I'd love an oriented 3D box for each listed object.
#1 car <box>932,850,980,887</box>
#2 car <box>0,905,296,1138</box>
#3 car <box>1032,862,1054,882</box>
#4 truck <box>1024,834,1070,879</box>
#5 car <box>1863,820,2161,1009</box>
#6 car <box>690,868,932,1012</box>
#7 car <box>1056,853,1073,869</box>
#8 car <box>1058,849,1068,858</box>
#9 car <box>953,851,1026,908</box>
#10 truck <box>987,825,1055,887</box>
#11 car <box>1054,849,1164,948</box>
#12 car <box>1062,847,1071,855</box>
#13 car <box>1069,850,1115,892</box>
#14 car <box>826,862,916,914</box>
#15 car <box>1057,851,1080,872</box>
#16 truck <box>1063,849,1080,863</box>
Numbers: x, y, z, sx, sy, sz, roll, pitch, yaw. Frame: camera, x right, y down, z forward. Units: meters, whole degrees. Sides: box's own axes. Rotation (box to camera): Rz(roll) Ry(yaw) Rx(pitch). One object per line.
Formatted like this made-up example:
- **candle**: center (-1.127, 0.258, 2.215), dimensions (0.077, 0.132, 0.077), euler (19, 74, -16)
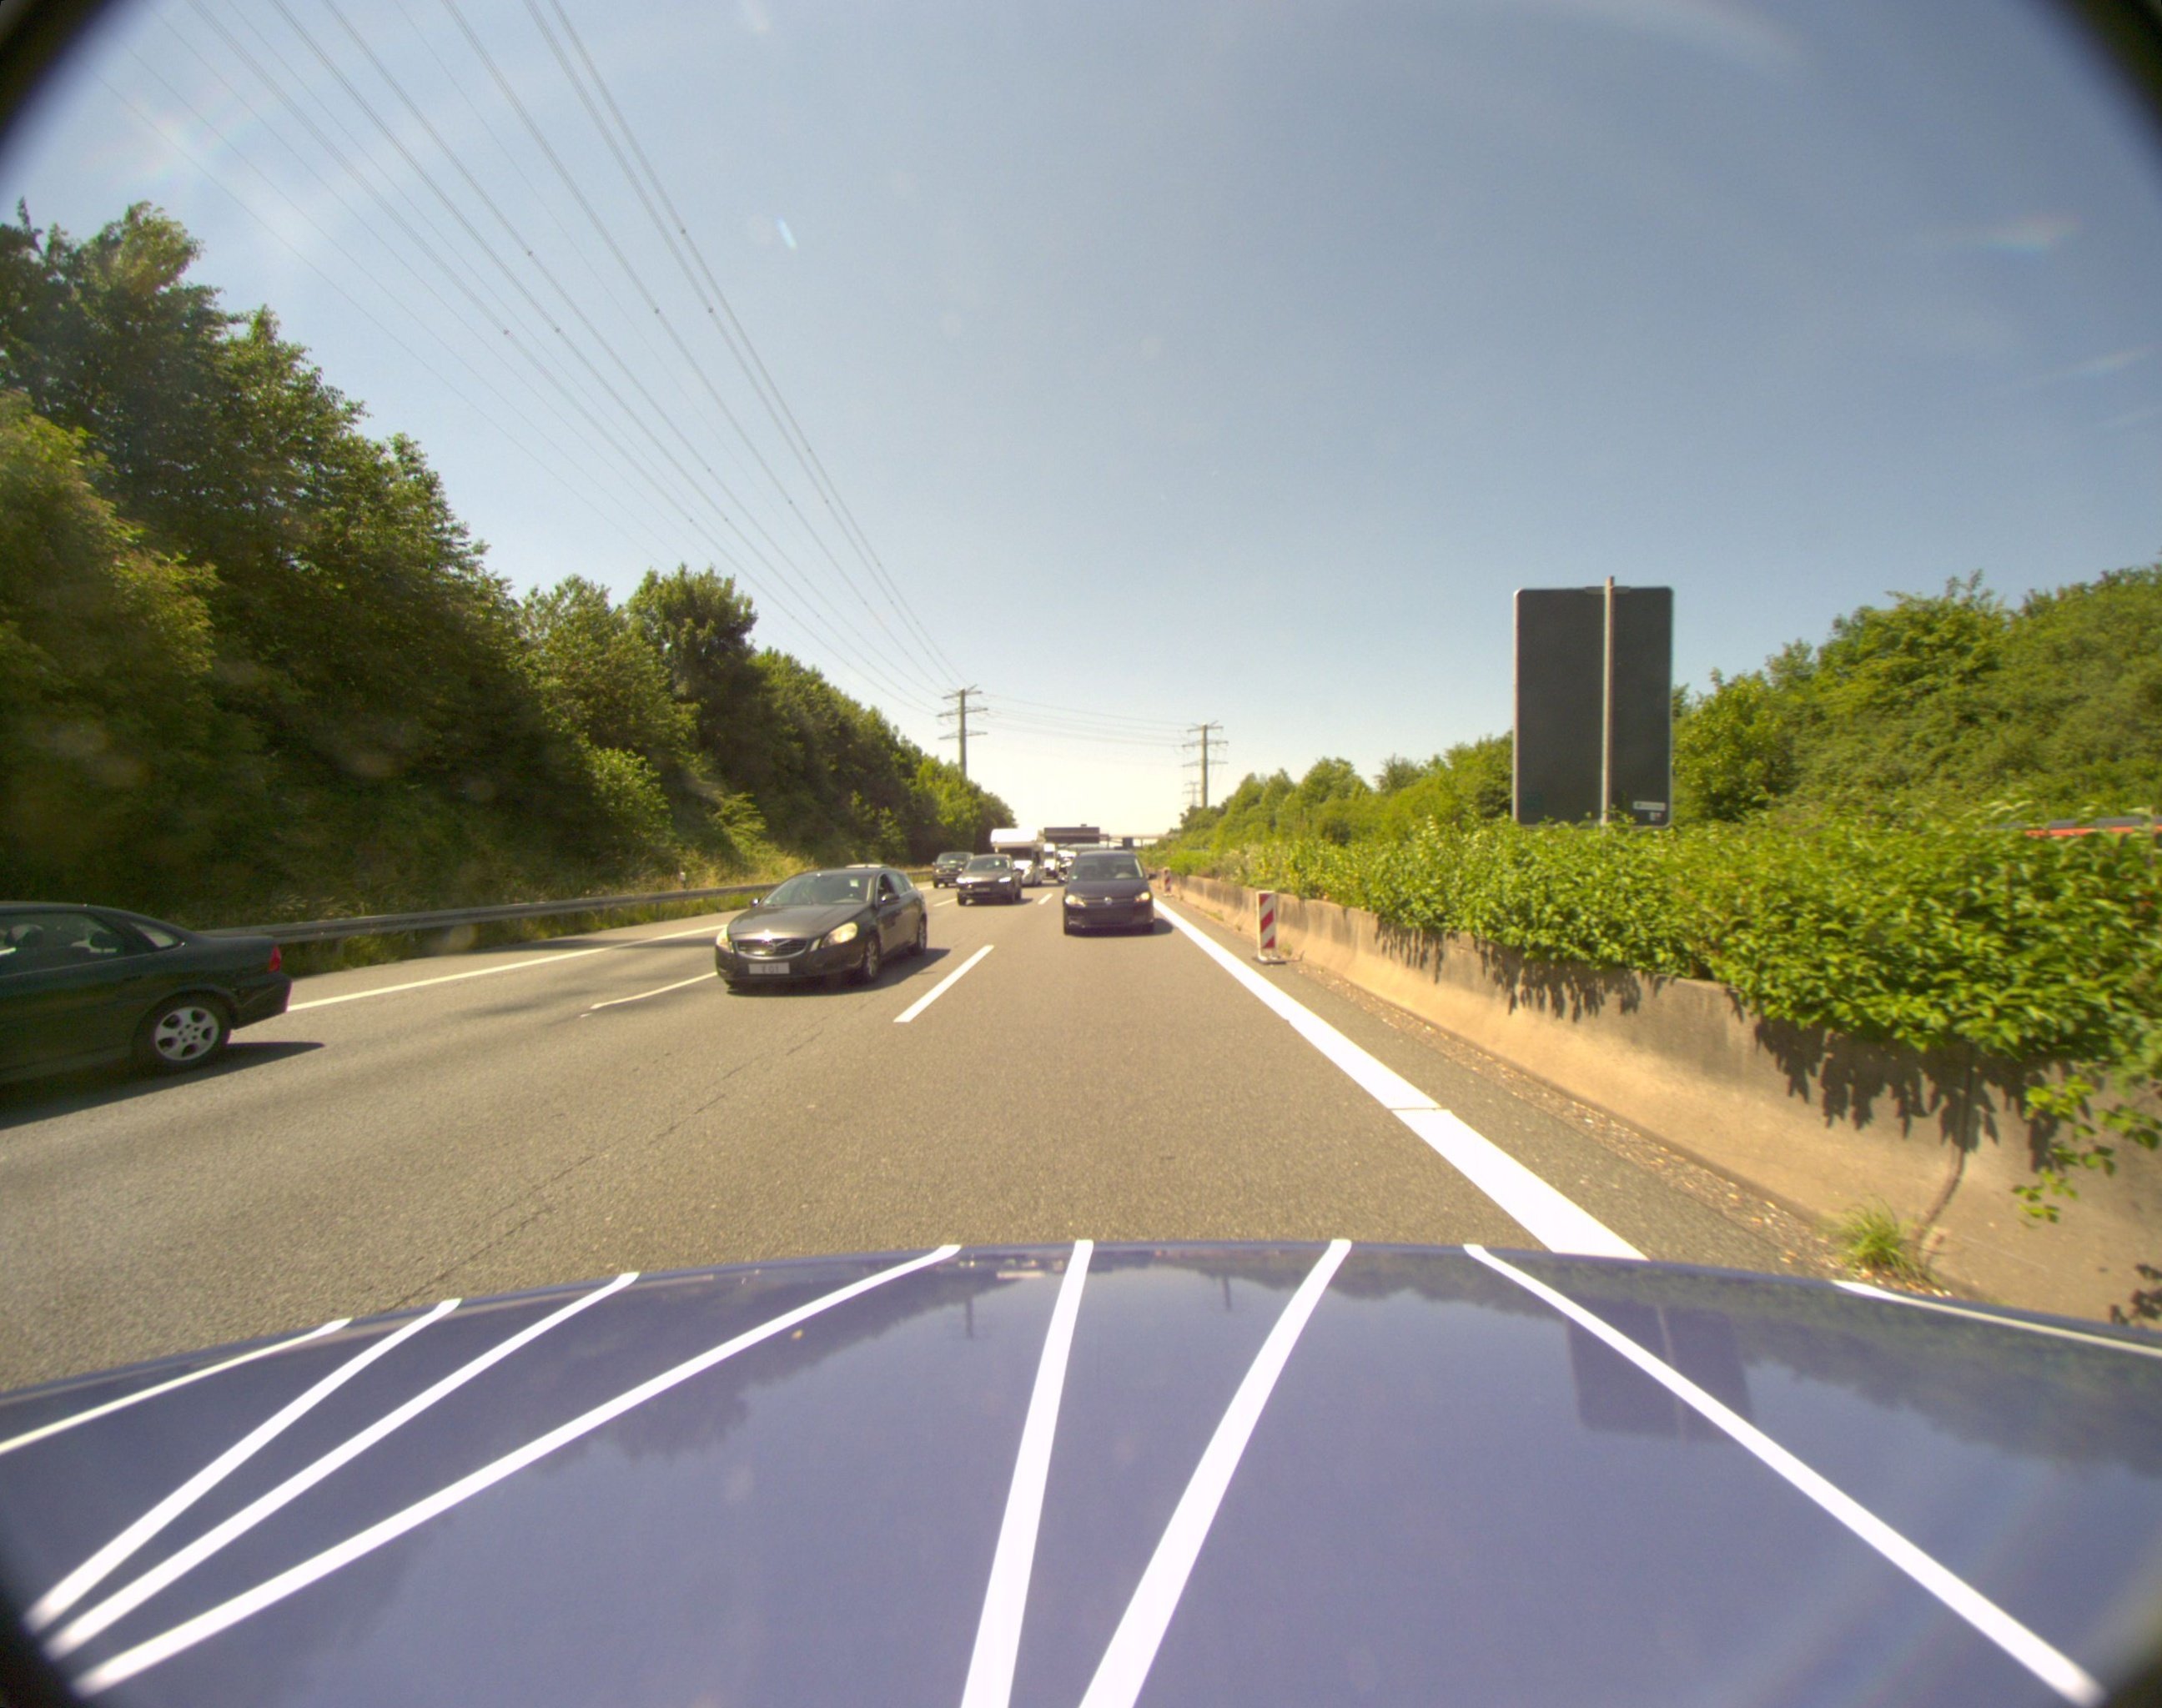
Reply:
- **car**: center (-7.018, 0.788, 43.008), dimensions (1.788, 1.893, 4.698), euler (-2, 1, 1)
- **car**: center (-7.909, 1.192, 4.592), dimensions (1.739, 1.370, 4.302), euler (-2, 1, 1)
- **car**: center (-3.624, 1.690, 73.515), dimensions (1.892, 1.693, 4.383), euler (-2, 1, 0)
- **truck**: center (-2.370, 0.111, 56.345), dimensions (2.514, 2.997, 9.898), euler (-2, 1, 2)
- **car**: center (12.925, 0.665, 9.289), dimensions (1.998, 2.084, 4.606), euler (0, 0, 1)
- **car**: center (-3.425, 1.002, 10.585), dimensions (1.800, 1.429, 4.230), euler (-2, 1, 0)
- **car**: center (-1.932, 0.772, 88.968), dimensions (1.892, 1.693, 4.383), euler (-2, 1, 0)
- **car**: center (-4.174, -0.143, 172.639), dimensions (1.998, 2.002, 4.000), euler (-2, 1, 2)
- **car**: center (-3.028, 0.797, 25.981), dimensions (1.892, 1.693, 4.383), euler (-2, 1, 0)
- **truck**: center (-3.145, 0.069, 42.702), dimensions (2.514, 2.997, 9.898), euler (-2, 1, 2)
- **car**: center (0.496, 0.770, 15.631), dimensions (1.892, 1.693, 4.383), euler (-2, 1, 0)
- **car**: center (-3.826, -0.729, 201.779), dimensions (1.998, 2.002, 4.000), euler (-2, 1, 2)
- **car**: center (0.463, 0.709, 34.130), dimensions (1.892, 1.693, 4.383), euler (-2, 1, 0)
- **car**: center (-6.916, 1.073, 25.408), dimensions (1.745, 1.461, 4.014), euler (-2, 0, 2)
- **car**: center (-1.073, 0.622, 68.000), dimensions (1.892, 1.693, 4.383), euler (-2, 1, 0)
- **truck**: center (-1.525, 0.267, 123.619), dimensions (2.408, 2.203, 6.744), euler (-2, 1, 2)
